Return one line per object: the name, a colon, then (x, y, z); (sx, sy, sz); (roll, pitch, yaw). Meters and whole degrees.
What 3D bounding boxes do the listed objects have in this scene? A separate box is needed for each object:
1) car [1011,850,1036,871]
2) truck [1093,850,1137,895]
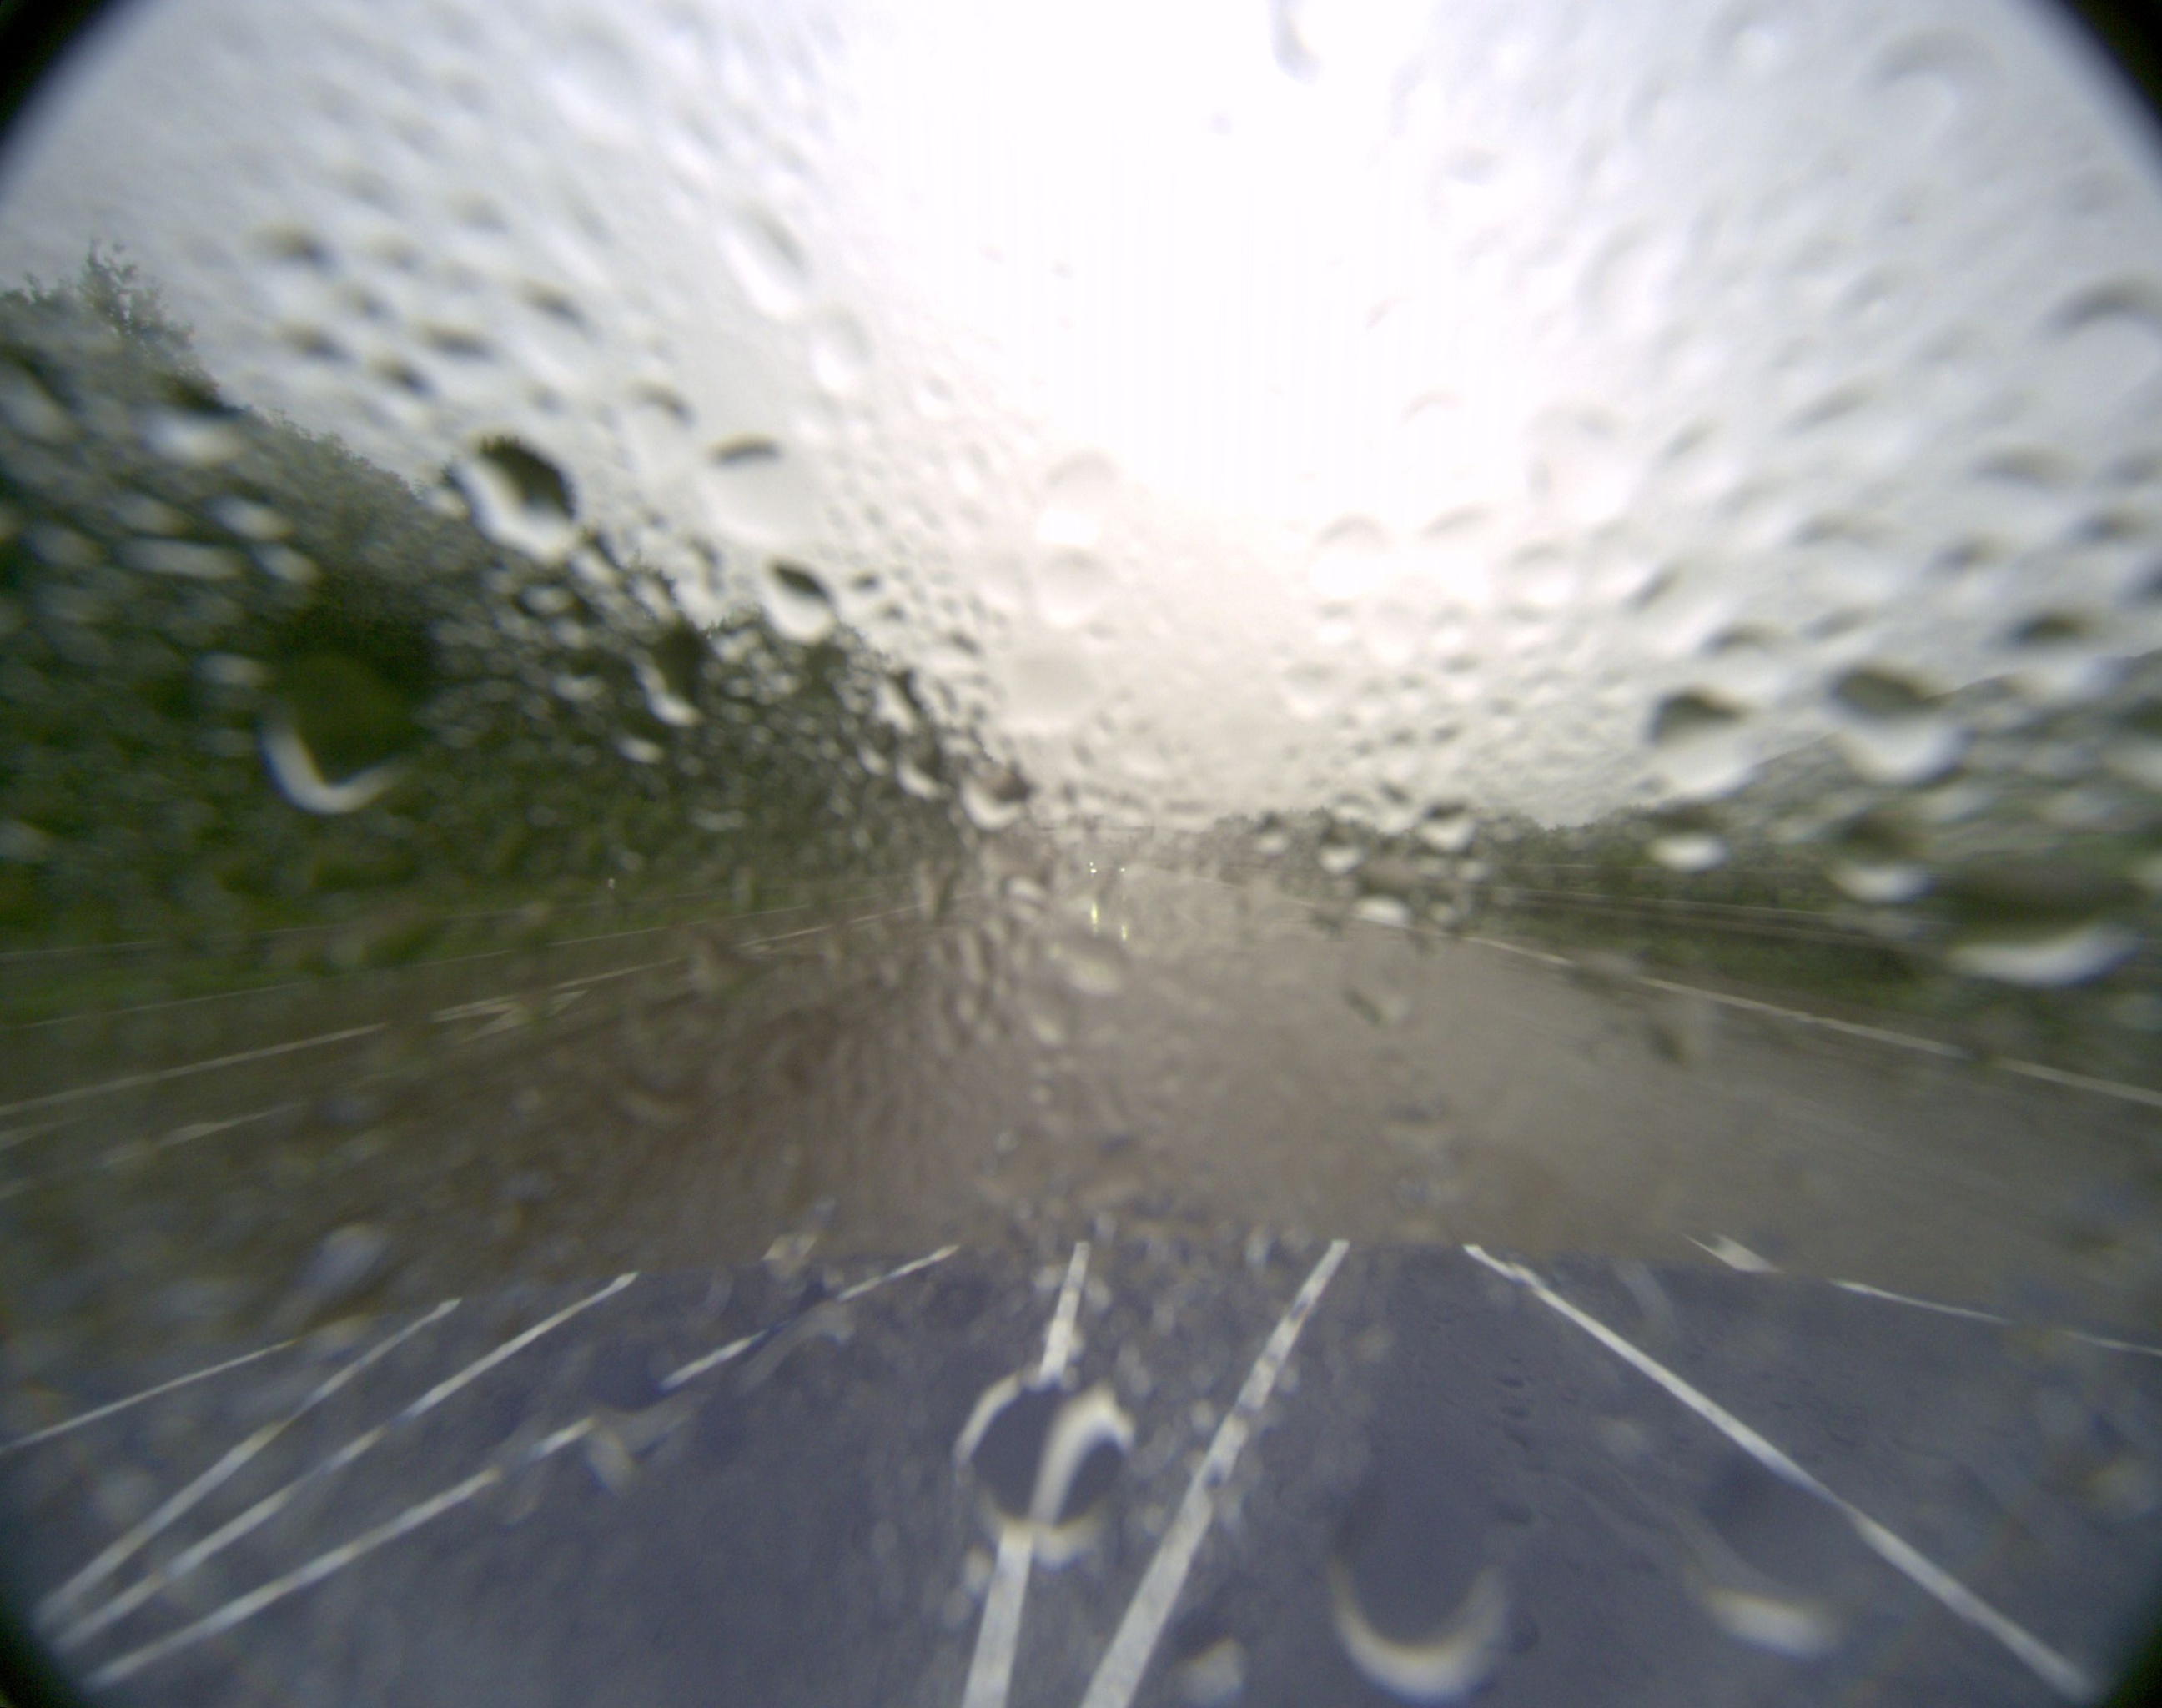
car: (-5.729, 0.612, 76.363); (1.858, 2.002, 4.001); (-2, 0, 4)
truck: (1.634, 0.833, 38.628); (1.998, 2.002, 7.575); (-1, 0, 1)
